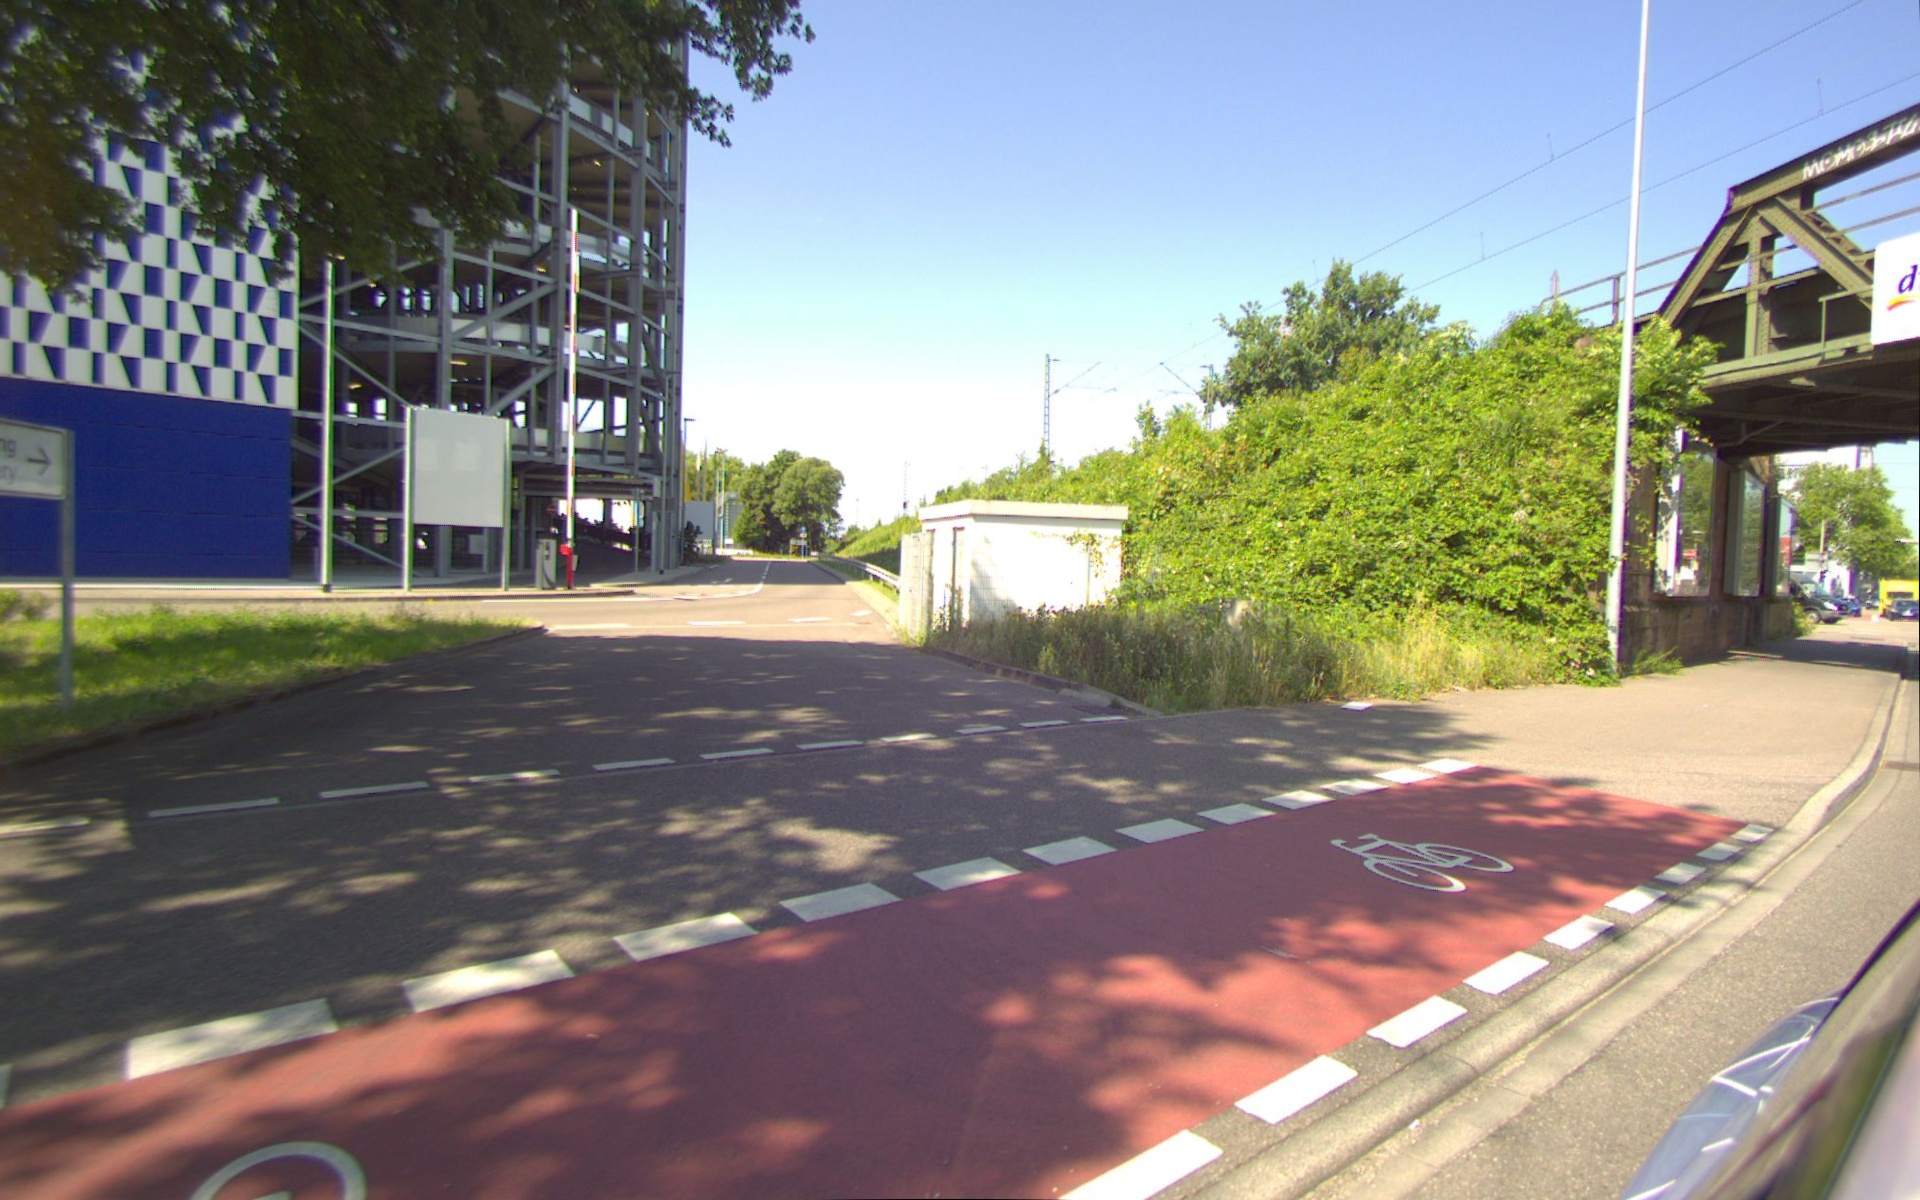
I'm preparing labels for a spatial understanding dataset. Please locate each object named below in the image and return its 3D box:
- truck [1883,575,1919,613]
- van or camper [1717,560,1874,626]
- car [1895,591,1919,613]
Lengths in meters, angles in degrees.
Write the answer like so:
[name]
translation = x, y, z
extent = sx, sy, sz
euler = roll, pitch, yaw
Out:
[truck]
translation = 73.823, -0.440, 78.911
extent = 2.399, 2.899, 5.722
euler = 0, -1, 39
[van or camper]
translation = 42.668, -0.324, 51.824
extent = 2.551, 3.195, 5.779
euler = 1, -1, -37
[car]
translation = 63.435, 0.133, 67.145
extent = 1.817, 1.370, 3.941
euler = 3, 3, 40
